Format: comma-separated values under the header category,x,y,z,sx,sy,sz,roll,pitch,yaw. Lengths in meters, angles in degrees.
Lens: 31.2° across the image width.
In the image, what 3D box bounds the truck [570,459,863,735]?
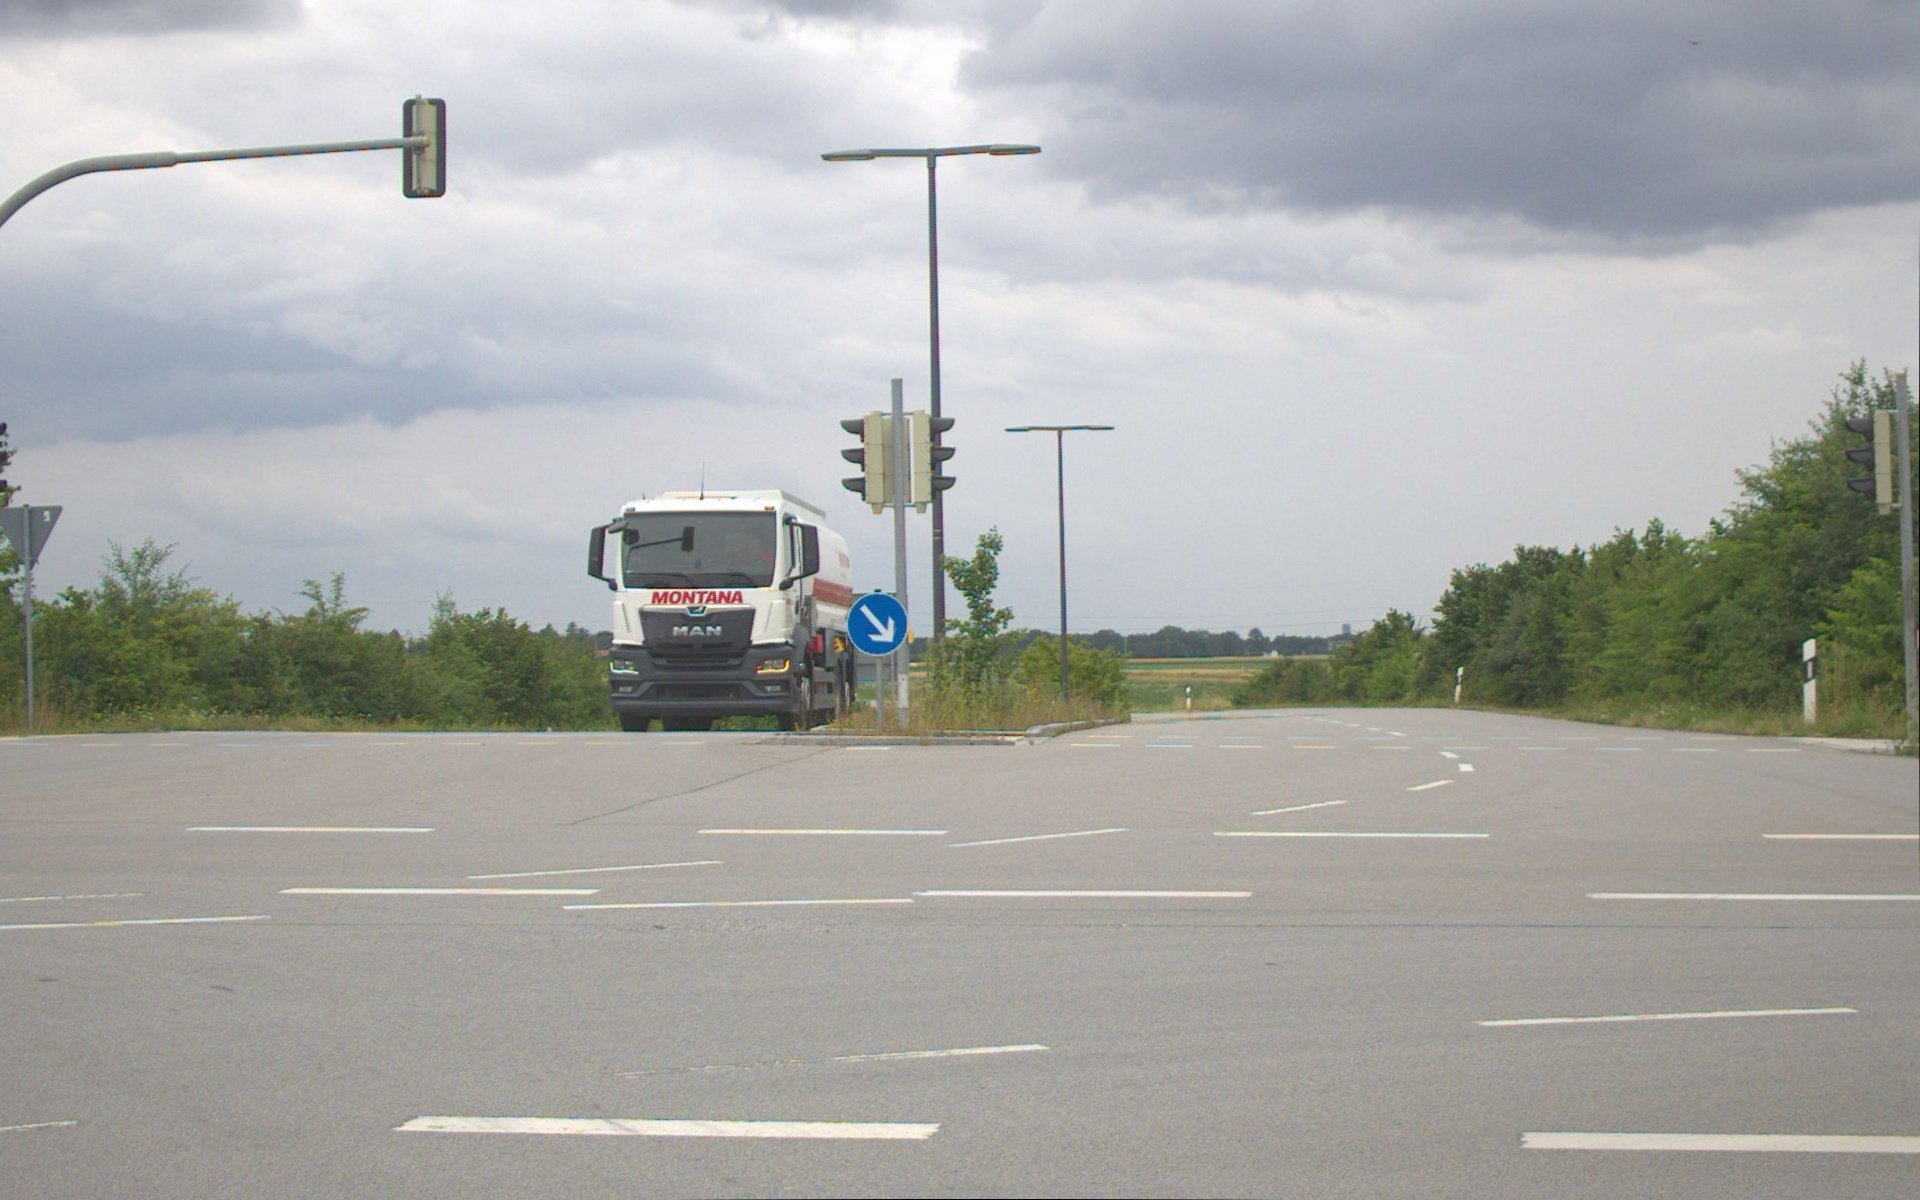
category,x,y,z,sx,sy,sz,roll,pitch,yaw
truck,-3.175,0.066,47.282,2.870,3.397,8.649,-1,-1,3
